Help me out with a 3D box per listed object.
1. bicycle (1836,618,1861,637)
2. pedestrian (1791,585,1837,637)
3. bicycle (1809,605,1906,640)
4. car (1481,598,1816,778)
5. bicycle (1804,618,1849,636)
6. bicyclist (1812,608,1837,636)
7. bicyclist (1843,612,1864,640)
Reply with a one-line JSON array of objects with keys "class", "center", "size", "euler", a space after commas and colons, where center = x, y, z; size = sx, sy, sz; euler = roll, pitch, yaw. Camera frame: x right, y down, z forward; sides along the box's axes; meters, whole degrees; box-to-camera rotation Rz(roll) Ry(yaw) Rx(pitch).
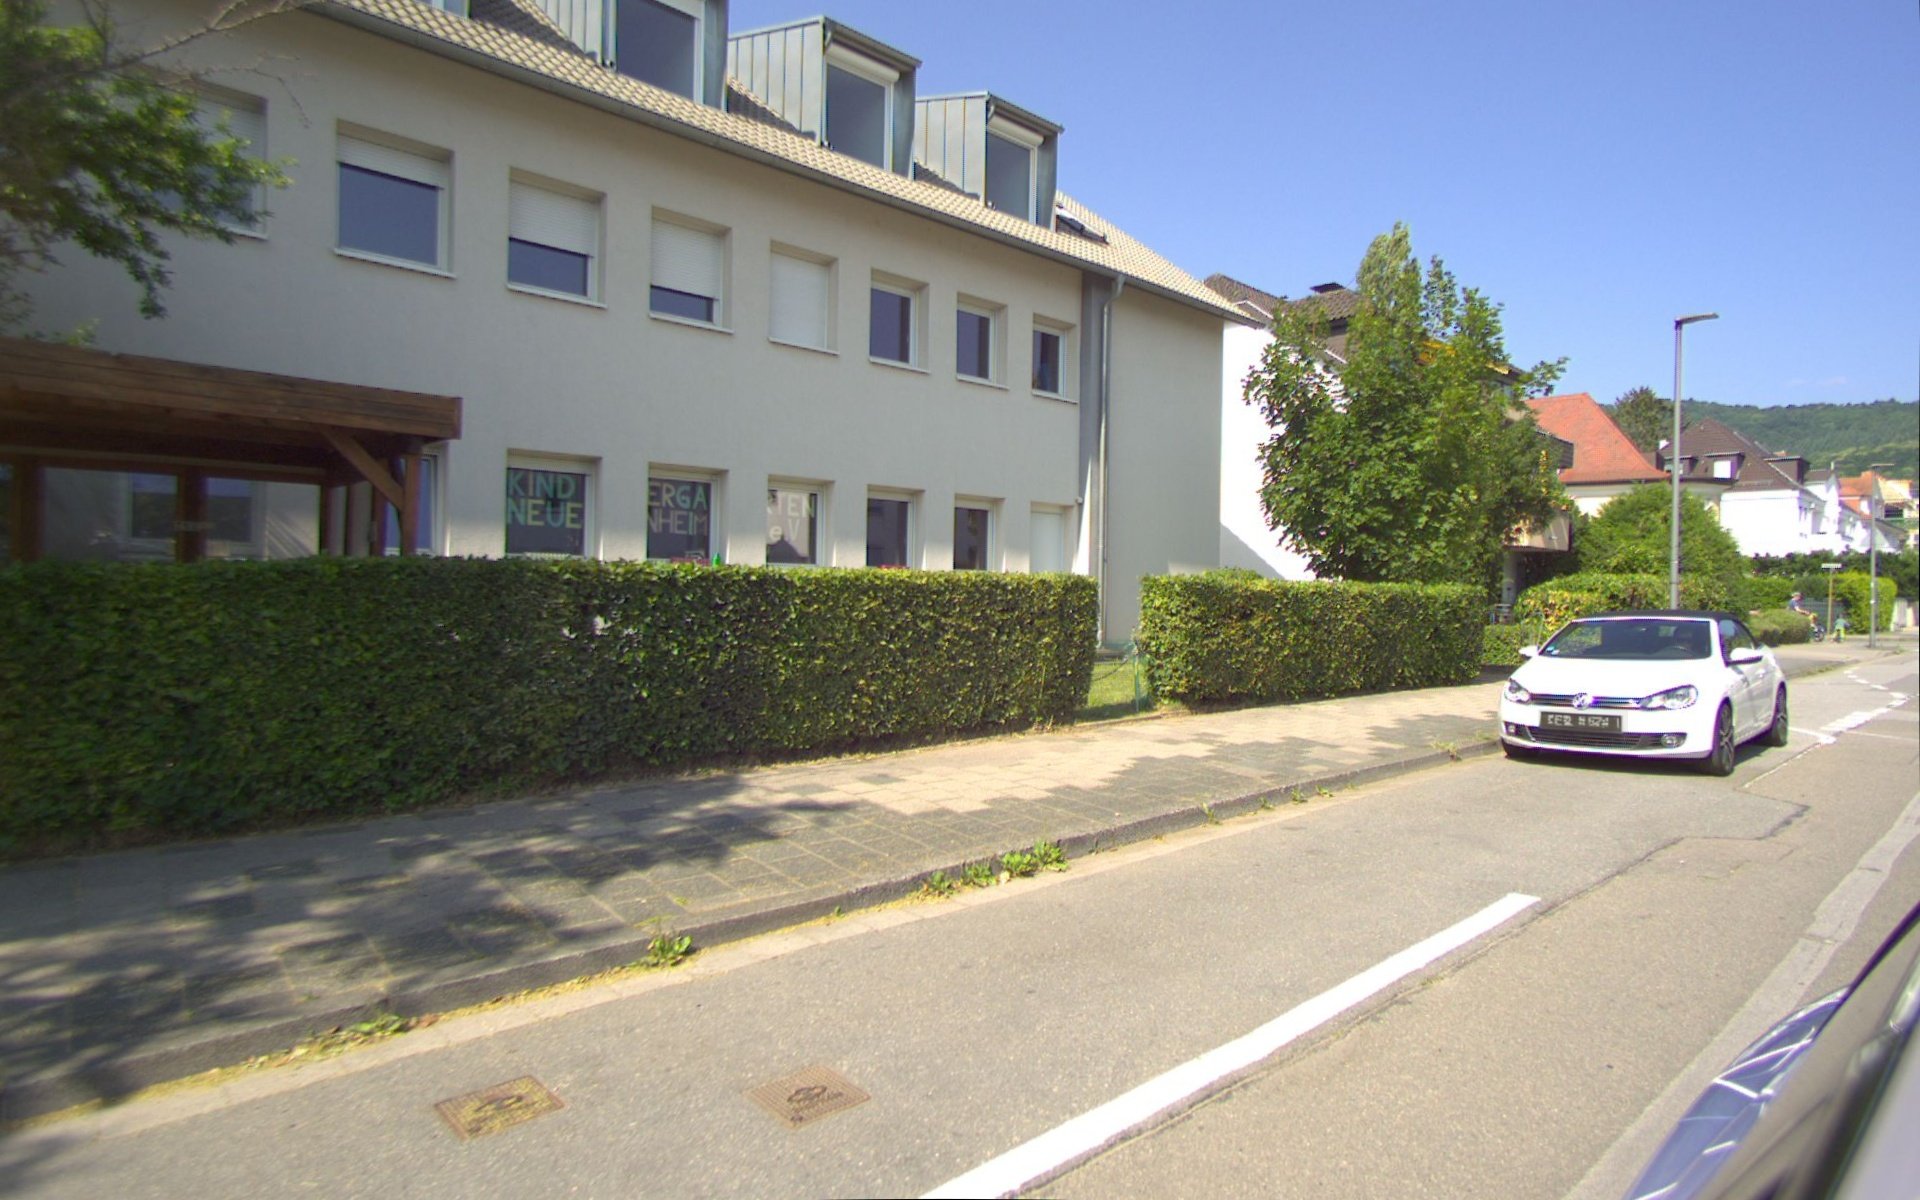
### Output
[{"class": "bicycle", "center": [31.527, 0.975, 35.922], "size": [0.399, 0.607, 1.162], "euler": [1, 1, 28]}, {"class": "pedestrian", "center": [31.594, 0.399, 37.469], "size": [0.889, 1.896, 1.183], "euler": [0, 0, 16]}, {"class": "bicycle", "center": [32.229, 0.785, 36.410], "size": [0.846, 1.173, 2.716], "euler": [0, 1, -8]}, {"class": "car", "center": [6.896, 0.709, 9.985], "size": [4.002, 1.420, 1.743], "euler": [0, -1, -41]}, {"class": "bicycle", "center": [30.269, 0.944, 35.367], "size": [1.141, 0.607, 0.398], "euler": [1, 1, 29]}, {"class": "bicyclist", "center": [30.230, 0.767, 35.386], "size": [0.603, 0.945, 0.396], "euler": [0, 0, 28]}, {"class": "bicyclist", "center": [31.717, 0.919, 35.928], "size": [0.398, 0.941, 0.652], "euler": [0, 1, 27]}]
